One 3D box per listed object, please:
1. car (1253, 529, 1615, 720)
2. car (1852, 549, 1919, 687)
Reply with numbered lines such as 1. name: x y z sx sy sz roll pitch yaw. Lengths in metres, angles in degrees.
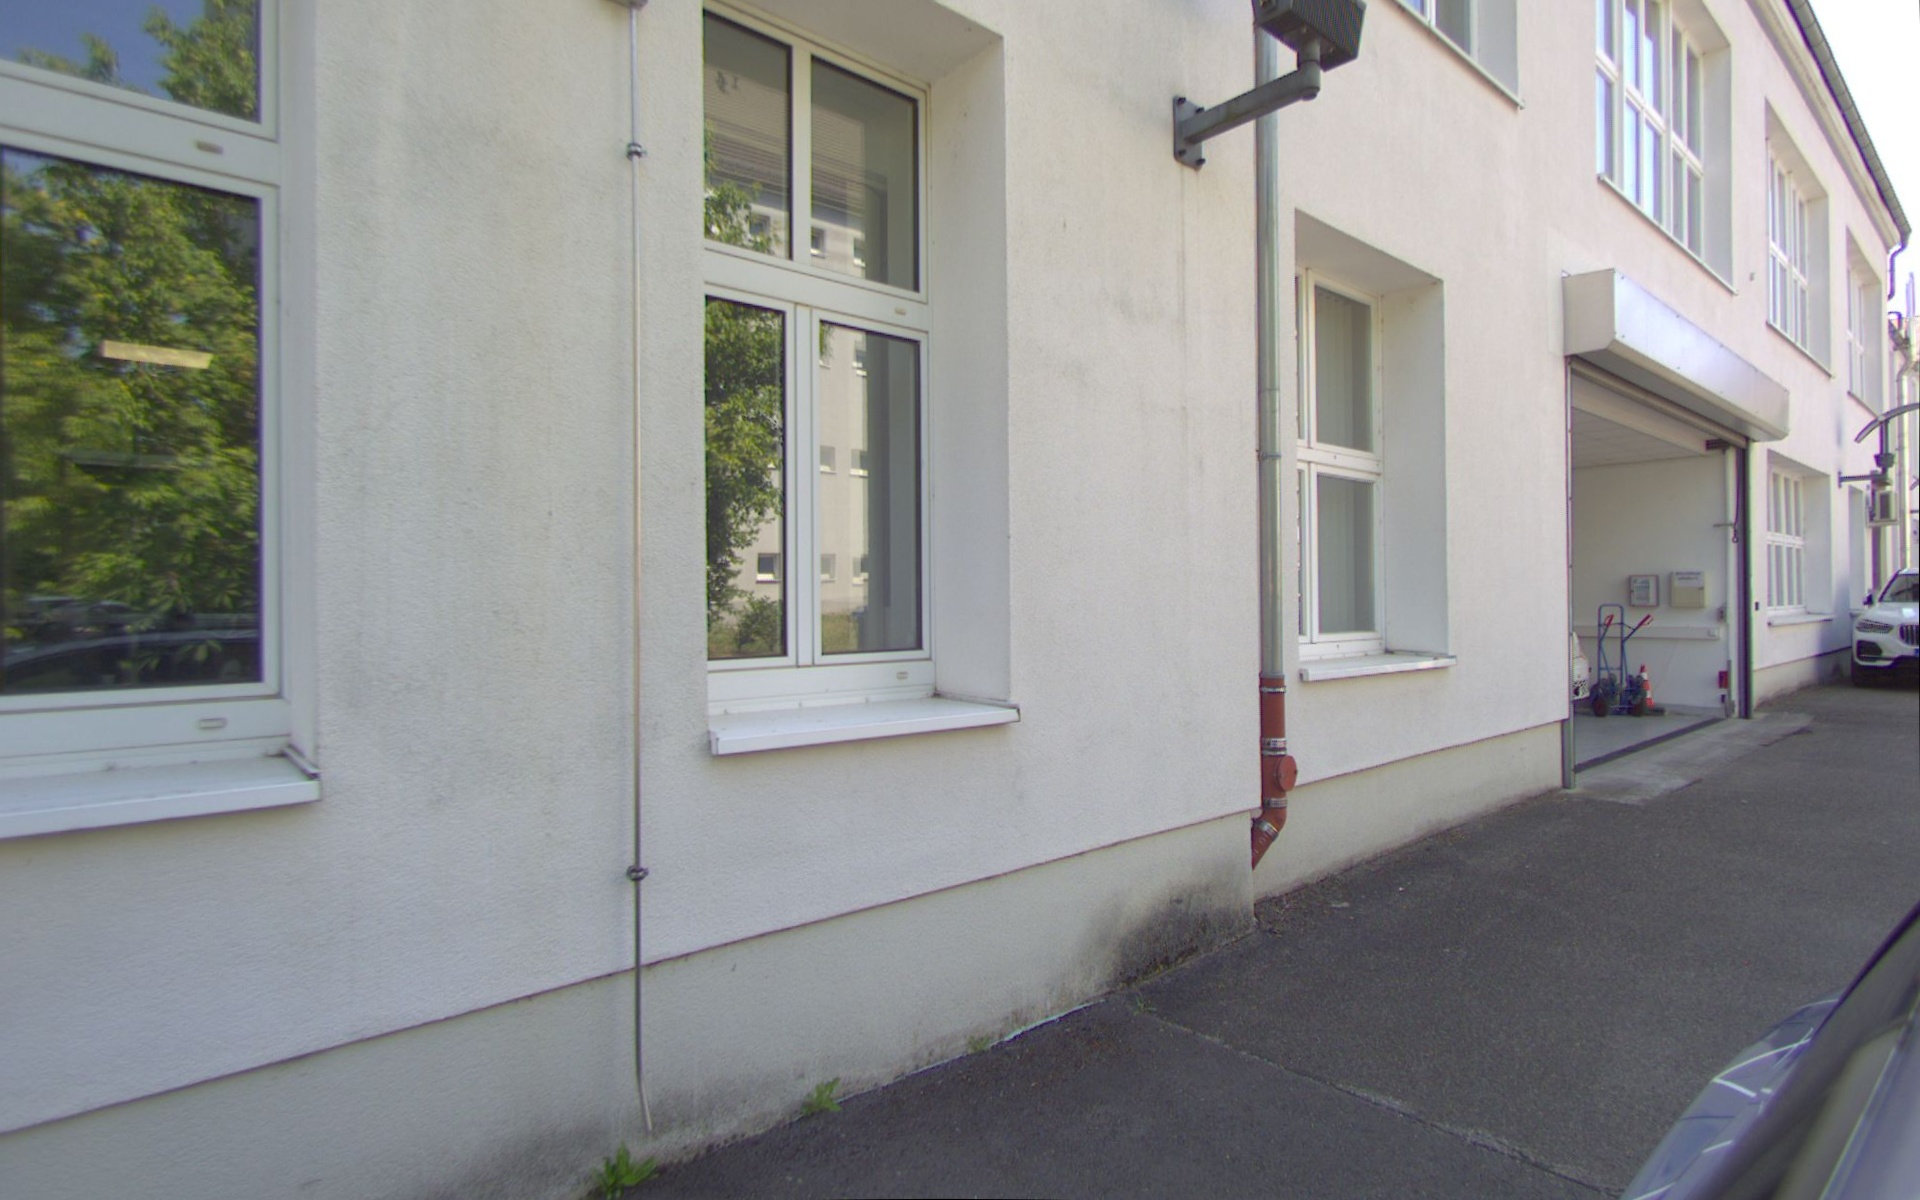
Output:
1. car: 5.821 0.253 12.835 1.623 2.039 3.838 -1 0 -37
2. car: 14.671 0.187 14.654 4.645 1.825 2.009 -2 0 -41
